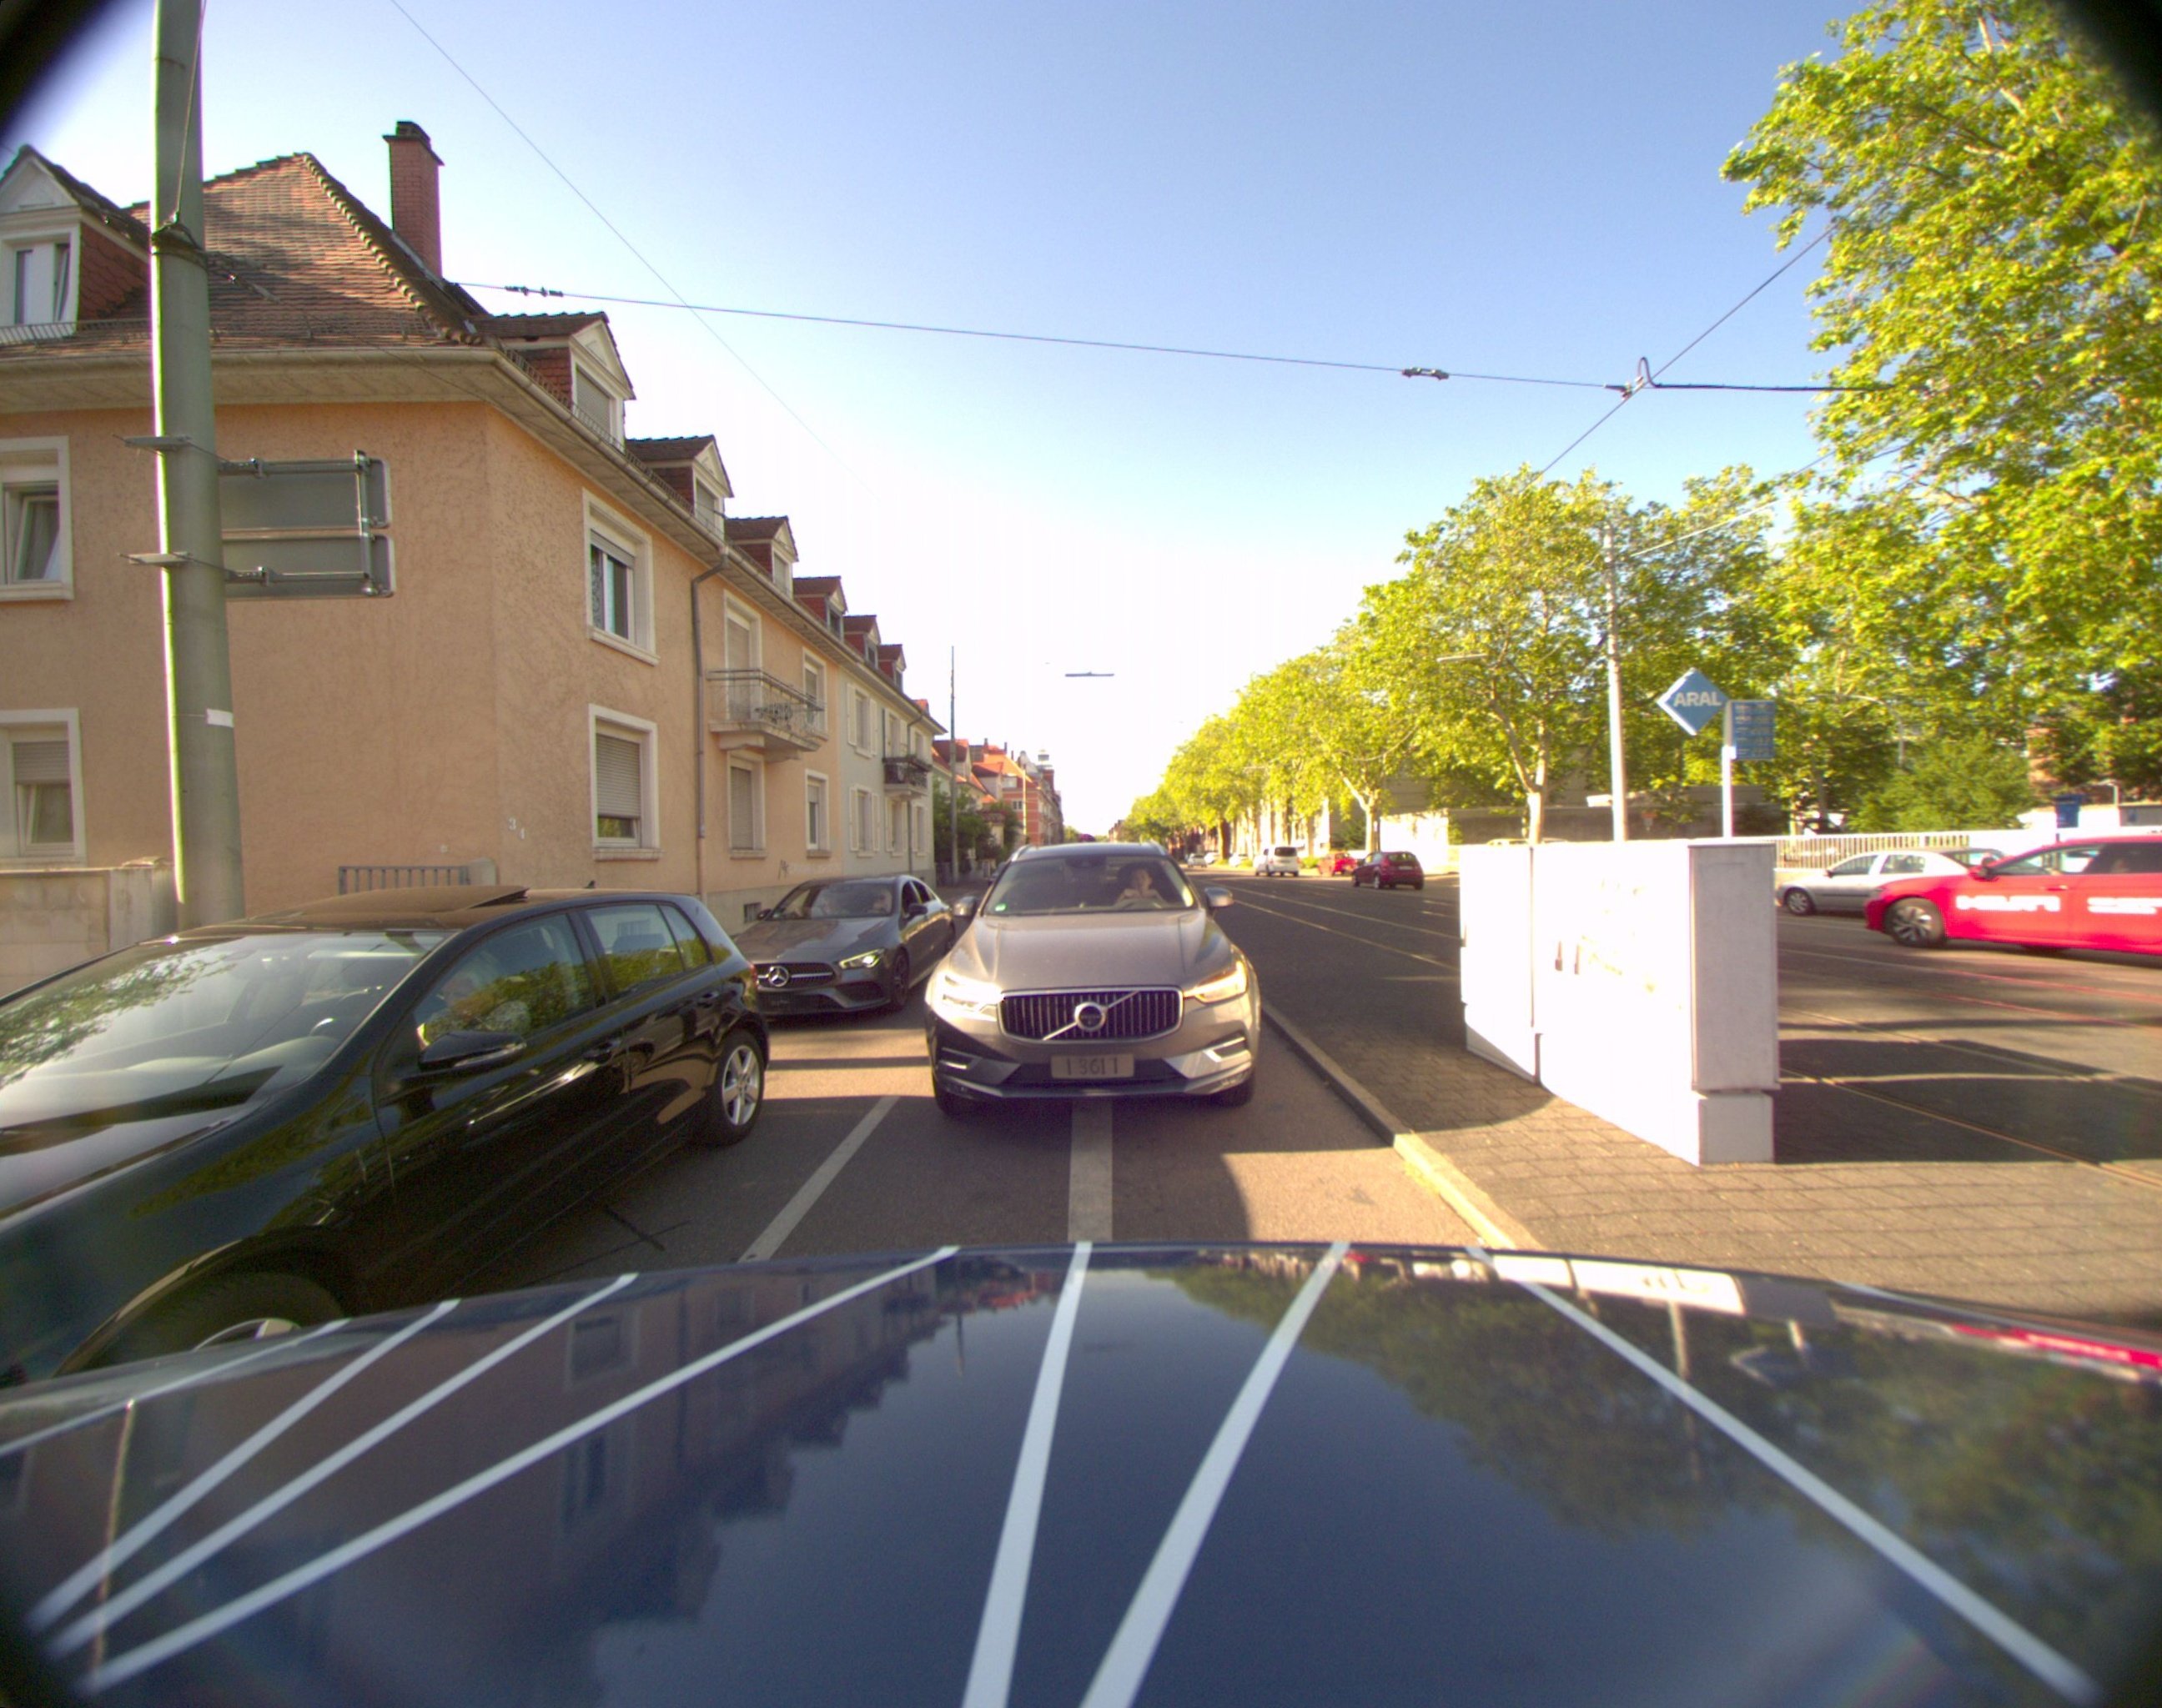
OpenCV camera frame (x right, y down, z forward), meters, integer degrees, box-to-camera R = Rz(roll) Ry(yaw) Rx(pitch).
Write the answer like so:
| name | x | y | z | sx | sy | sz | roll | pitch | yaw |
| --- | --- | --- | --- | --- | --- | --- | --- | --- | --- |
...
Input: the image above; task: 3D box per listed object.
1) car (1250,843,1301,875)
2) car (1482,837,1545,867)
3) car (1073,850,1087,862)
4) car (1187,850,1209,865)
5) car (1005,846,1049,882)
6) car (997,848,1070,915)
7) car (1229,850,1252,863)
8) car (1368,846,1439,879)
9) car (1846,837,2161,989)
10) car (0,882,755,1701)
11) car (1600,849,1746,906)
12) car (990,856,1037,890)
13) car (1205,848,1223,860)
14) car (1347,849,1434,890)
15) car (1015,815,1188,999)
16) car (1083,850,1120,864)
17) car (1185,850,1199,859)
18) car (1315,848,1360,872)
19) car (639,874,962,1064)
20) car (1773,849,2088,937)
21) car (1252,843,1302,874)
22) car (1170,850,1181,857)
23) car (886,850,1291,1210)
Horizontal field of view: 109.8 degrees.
| name | x | y | z | sx | sy | sz | roll | pitch | yaw |
| --- | --- | --- | --- | --- | --- | --- | --- | --- | --- |
| car | 12.142 | 0.350 | 47.839 | 1.887 | 1.863 | 5.115 | -2 | -1 | 1 |
| car | 21.736 | -0.120 | 38.303 | 1.545 | 1.412 | 3.151 | -2 | 1 | 4 |
| car | -0.151 | 0.261 | 106.488 | 1.841 | 1.449 | 3.999 | -2 | 1 | 1 |
| car | 12.700 | 0.409 | 82.351 | 1.764 | 1.487 | 3.999 | -2 | 1 | 1 |
| car | -3.065 | 0.499 | 44.795 | 1.937 | 1.888 | 7.210 | -2 | 1 | 1 |
| car | -1.385 | 0.757 | 23.847 | 1.866 | 1.794 | 4.778 | -2 | 1 | 1 |
| car | 17.524 | 0.241 | 83.521 | 1.700 | 1.401 | 3.999 | -1 | 1 | 1 |
| car | 17.232 | 0.422 | 40.829 | 1.753 | 1.514 | 4.434 | -5 | 1 | -1 |
| car | 11.720 | 0.583 | 8.288 | 1.912 | 1.514 | 4.763 | 0 | 1 | 0 |
| car | -2.913 | 0.907 | 2.634 | 1.733 | 1.499 | 4.051 | -2 | -1 | 1 |
| car | 16.375 | 0.600 | 21.214 | 1.546 | 1.412 | 3.254 | -2 | 1 | 1 |
| car | -3.238 | 0.887 | 37.099 | 1.841 | 1.449 | 3.999 | -2 | 1 | 1 |
| car | 17.672 | -0.002 | 100.782 | 1.700 | 1.548 | 3.999 | -1 | 1 | 1 |
| car | 11.709 | 0.529 | 28.992 | 1.699 | 1.412 | 3.999 | 1 | 1 | 1 |
| car | 0.244 | 0.590 | 11.122 | 1.912 | 2.048 | 4.763 | -2 | 1 | 0 |
| car | 2.354 | 0.355 | 89.500 | 3.989 | 1.449 | 1.846 | -2 | 1 | 38 |
| car | 18.341 | 0.013 | 125.559 | 1.700 | 1.401 | 3.999 | -1 | 1 | 1 |
| car | 16.932 | 0.369 | 50.312 | 1.700 | 1.460 | 3.999 | -1 | 1 | 1 |
| car | -2.781 | 1.064 | 8.822 | 1.911 | 1.411 | 4.492 | -2 | 1 | 2 |
| car | 16.244 | 0.644 | 14.903 | 1.731 | 1.412 | 3.999 | -2 | 1 | 1 |
| car | 12.164 | 0.225 | 47.400 | 1.850 | 1.835 | 4.394 | -1 | 1 | -1 |
| car | 18.598 | -0.086 | 149.564 | 1.700 | 1.401 | 3.999 | -1 | 1 | 1 |
| car | 0.044 | 0.847 | 6.081 | 1.912 | 1.666 | 4.763 | -2 | 1 | 0 |
